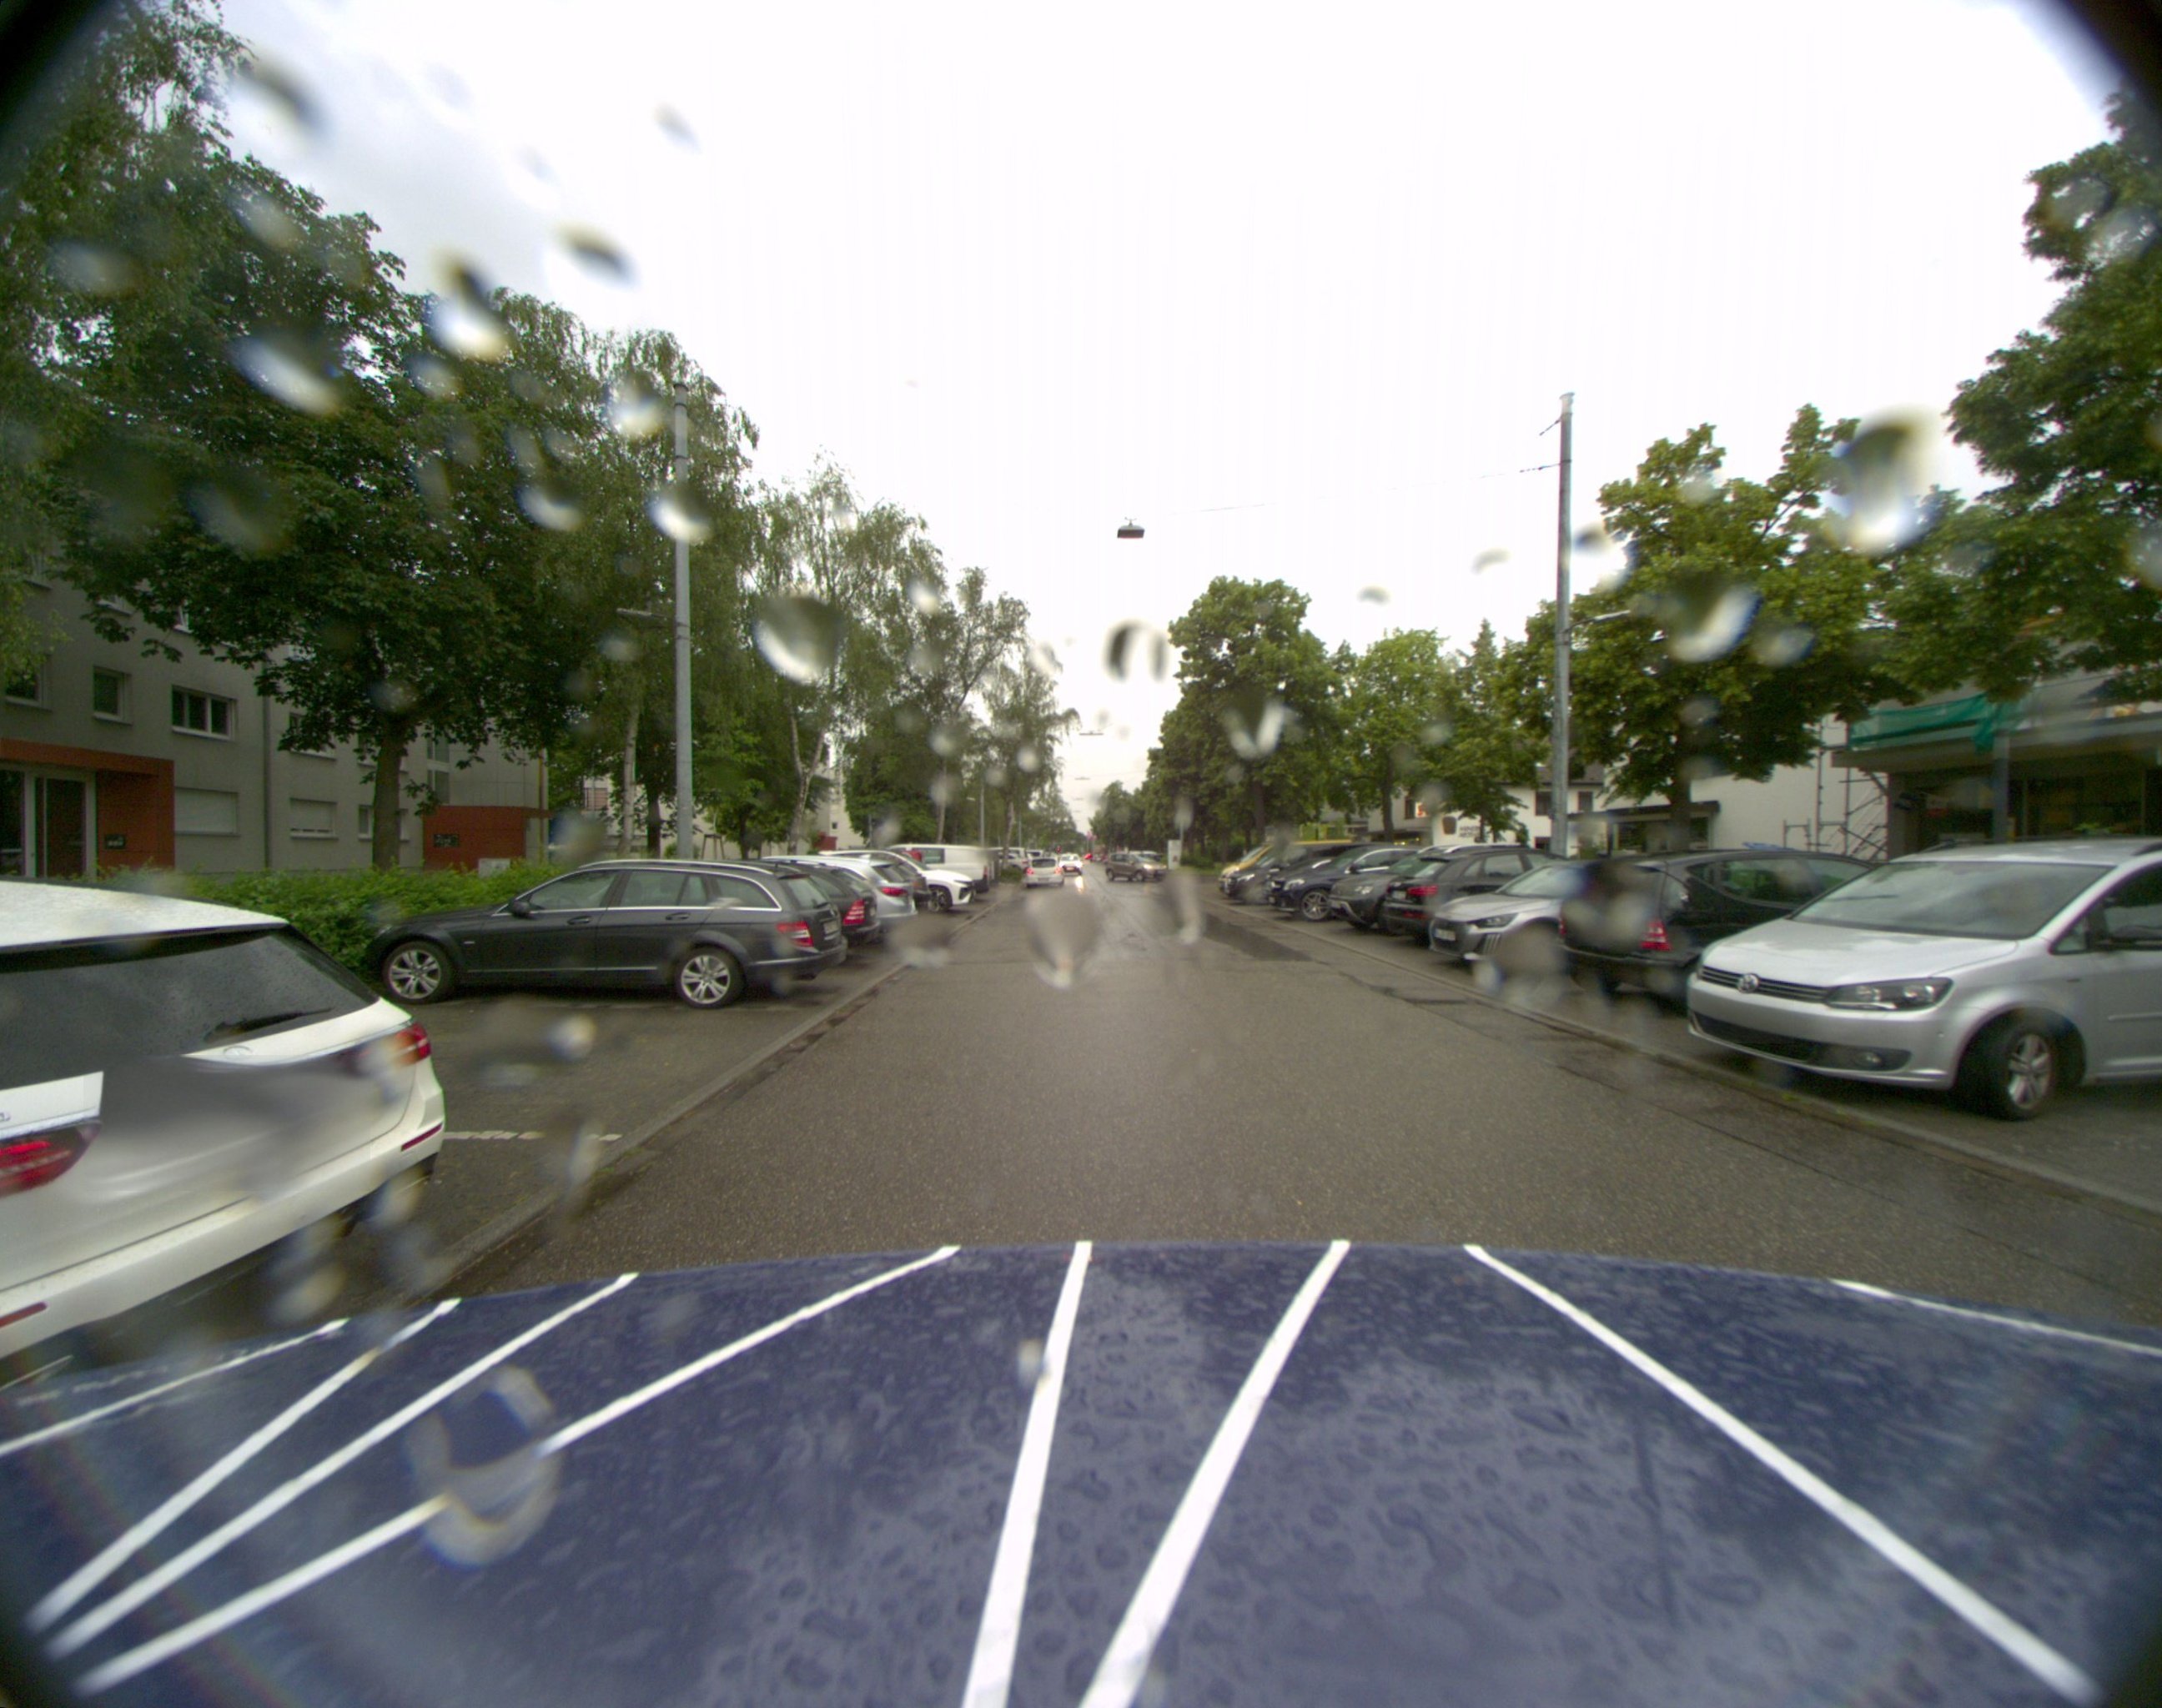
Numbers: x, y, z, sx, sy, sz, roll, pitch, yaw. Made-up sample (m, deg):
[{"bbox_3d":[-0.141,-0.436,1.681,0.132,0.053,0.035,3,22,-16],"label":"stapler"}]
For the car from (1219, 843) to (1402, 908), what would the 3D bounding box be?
[{"bbox_3d":[7.118,0.637,23.858,5.177,1.789,1.715,-2,1,-2],"label":"car"}]

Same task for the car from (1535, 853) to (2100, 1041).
[{"bbox_3d":[7.257,0.840,7.767,4.283,1.556,1.635,-2,1,-2],"label":"car"}]

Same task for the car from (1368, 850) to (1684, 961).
[{"bbox_3d":[7.269,0.795,12.675,4.283,1.586,1.715,-2,1,-2],"label":"car"}]

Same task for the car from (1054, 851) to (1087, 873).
[{"bbox_3d":[-0.790,0.596,56.460,1.735,1.519,4.135,-1,1,-11],"label":"car"}]

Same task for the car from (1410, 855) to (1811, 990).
[{"bbox_3d":[6.989,0.849,10.313,4.283,1.523,1.715,-2,1,-2],"label":"car"}]

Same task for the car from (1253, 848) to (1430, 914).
[{"bbox_3d":[7.146,0.722,21.084,4.283,1.617,1.715,-2,1,-2],"label":"car"}]

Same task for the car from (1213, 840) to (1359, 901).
[{"bbox_3d":[7.188,0.555,26.920,4.657,1.947,1.715,-2,1,-2],"label":"car"}]

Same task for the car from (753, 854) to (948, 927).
[{"bbox_3d":[-5.297,0.822,17.864,4.049,1.488,1.680,2,1,-3],"label":"car"}]

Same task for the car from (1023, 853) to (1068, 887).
[{"bbox_3d":[-1.792,0.739,37.026,1.999,1.446,4.255,-2,1,-4],"label":"car"}]

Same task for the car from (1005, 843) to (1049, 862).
[{"bbox_3d":[-5.283,-0.141,75.032,3.995,1.670,1.902,-2,1,4],"label":"car"}]

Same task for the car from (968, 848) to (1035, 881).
[{"bbox_3d":[-5.108,0.671,49.296,3.995,1.902,1.902,-2,1,4],"label":"car"}]

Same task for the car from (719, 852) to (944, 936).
[{"bbox_3d":[-5.002,0.786,15.640,4.049,1.488,1.680,2,1,-3],"label":"car"}]

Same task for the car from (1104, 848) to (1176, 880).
[{"bbox_3d":[3.311,0.557,43.485,1.844,1.677,3.989,-3,1,-38],"label":"car"}]

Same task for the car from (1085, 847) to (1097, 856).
[{"bbox_3d":[1.872,-0.440,142.731,1.999,1.617,3.999,-2,1,-1],"label":"car"}]

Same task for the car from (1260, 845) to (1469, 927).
[{"bbox_3d":[6.596,0.711,17.943,4.283,1.717,1.715,-2,1,-2],"label":"car"}]

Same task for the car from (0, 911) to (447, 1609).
[{"bbox_3d":[-4.747,0.919,2.060,4.623,1.431,1.680,2,1,0],"label":"car"}]

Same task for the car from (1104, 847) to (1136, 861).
[{"bbox_3d":[5.208,-0.026,101.612,3.998,1.675,1.999,-2,1,-3],"label":"car"}]

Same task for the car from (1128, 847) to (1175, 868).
[{"bbox_3d":[6.366,0.318,68.745,3.998,1.675,1.999,-2,1,-3],"label":"car"}]

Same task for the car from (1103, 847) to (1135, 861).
[{"bbox_3d":[4.974,0.008,99.170,3.998,1.675,1.999,-2,1,-3],"label":"car"}]

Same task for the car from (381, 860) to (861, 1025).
[{"bbox_3d":[-4.623,0.866,8.120,4.049,1.431,1.680,2,1,-3],"label":"car"}]

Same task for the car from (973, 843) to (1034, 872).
[{"bbox_3d":[-5.480,0.231,54.154,3.995,1.902,1.902,-2,1,4],"label":"car"}]

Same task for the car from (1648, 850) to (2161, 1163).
[{"bbox_3d":[6.630,0.851,5.199,4.283,1.625,1.715,-2,1,-2],"label":"car"}]

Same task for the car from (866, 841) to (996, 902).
[{"bbox_3d":[-5.085,0.572,26.186,4.182,1.856,1.679,2,1,-6],"label":"car"}]

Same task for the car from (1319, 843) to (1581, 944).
[{"bbox_3d":[7.087,0.710,14.856,4.283,1.717,1.715,-2,1,-2],"label":"car"}]

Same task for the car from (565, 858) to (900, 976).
[{"bbox_3d":[-4.844,0.857,11.007,4.049,1.431,1.680,2,1,-3],"label":"car"}]

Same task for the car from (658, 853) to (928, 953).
[{"bbox_3d":[-4.867,0.811,13.274,4.049,1.488,1.680,2,1,-3],"label":"car"}]

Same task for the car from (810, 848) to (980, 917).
[{"bbox_3d":[-5.034,0.745,20.899,4.179,1.609,1.680,3,1,1],"label":"car"}]
